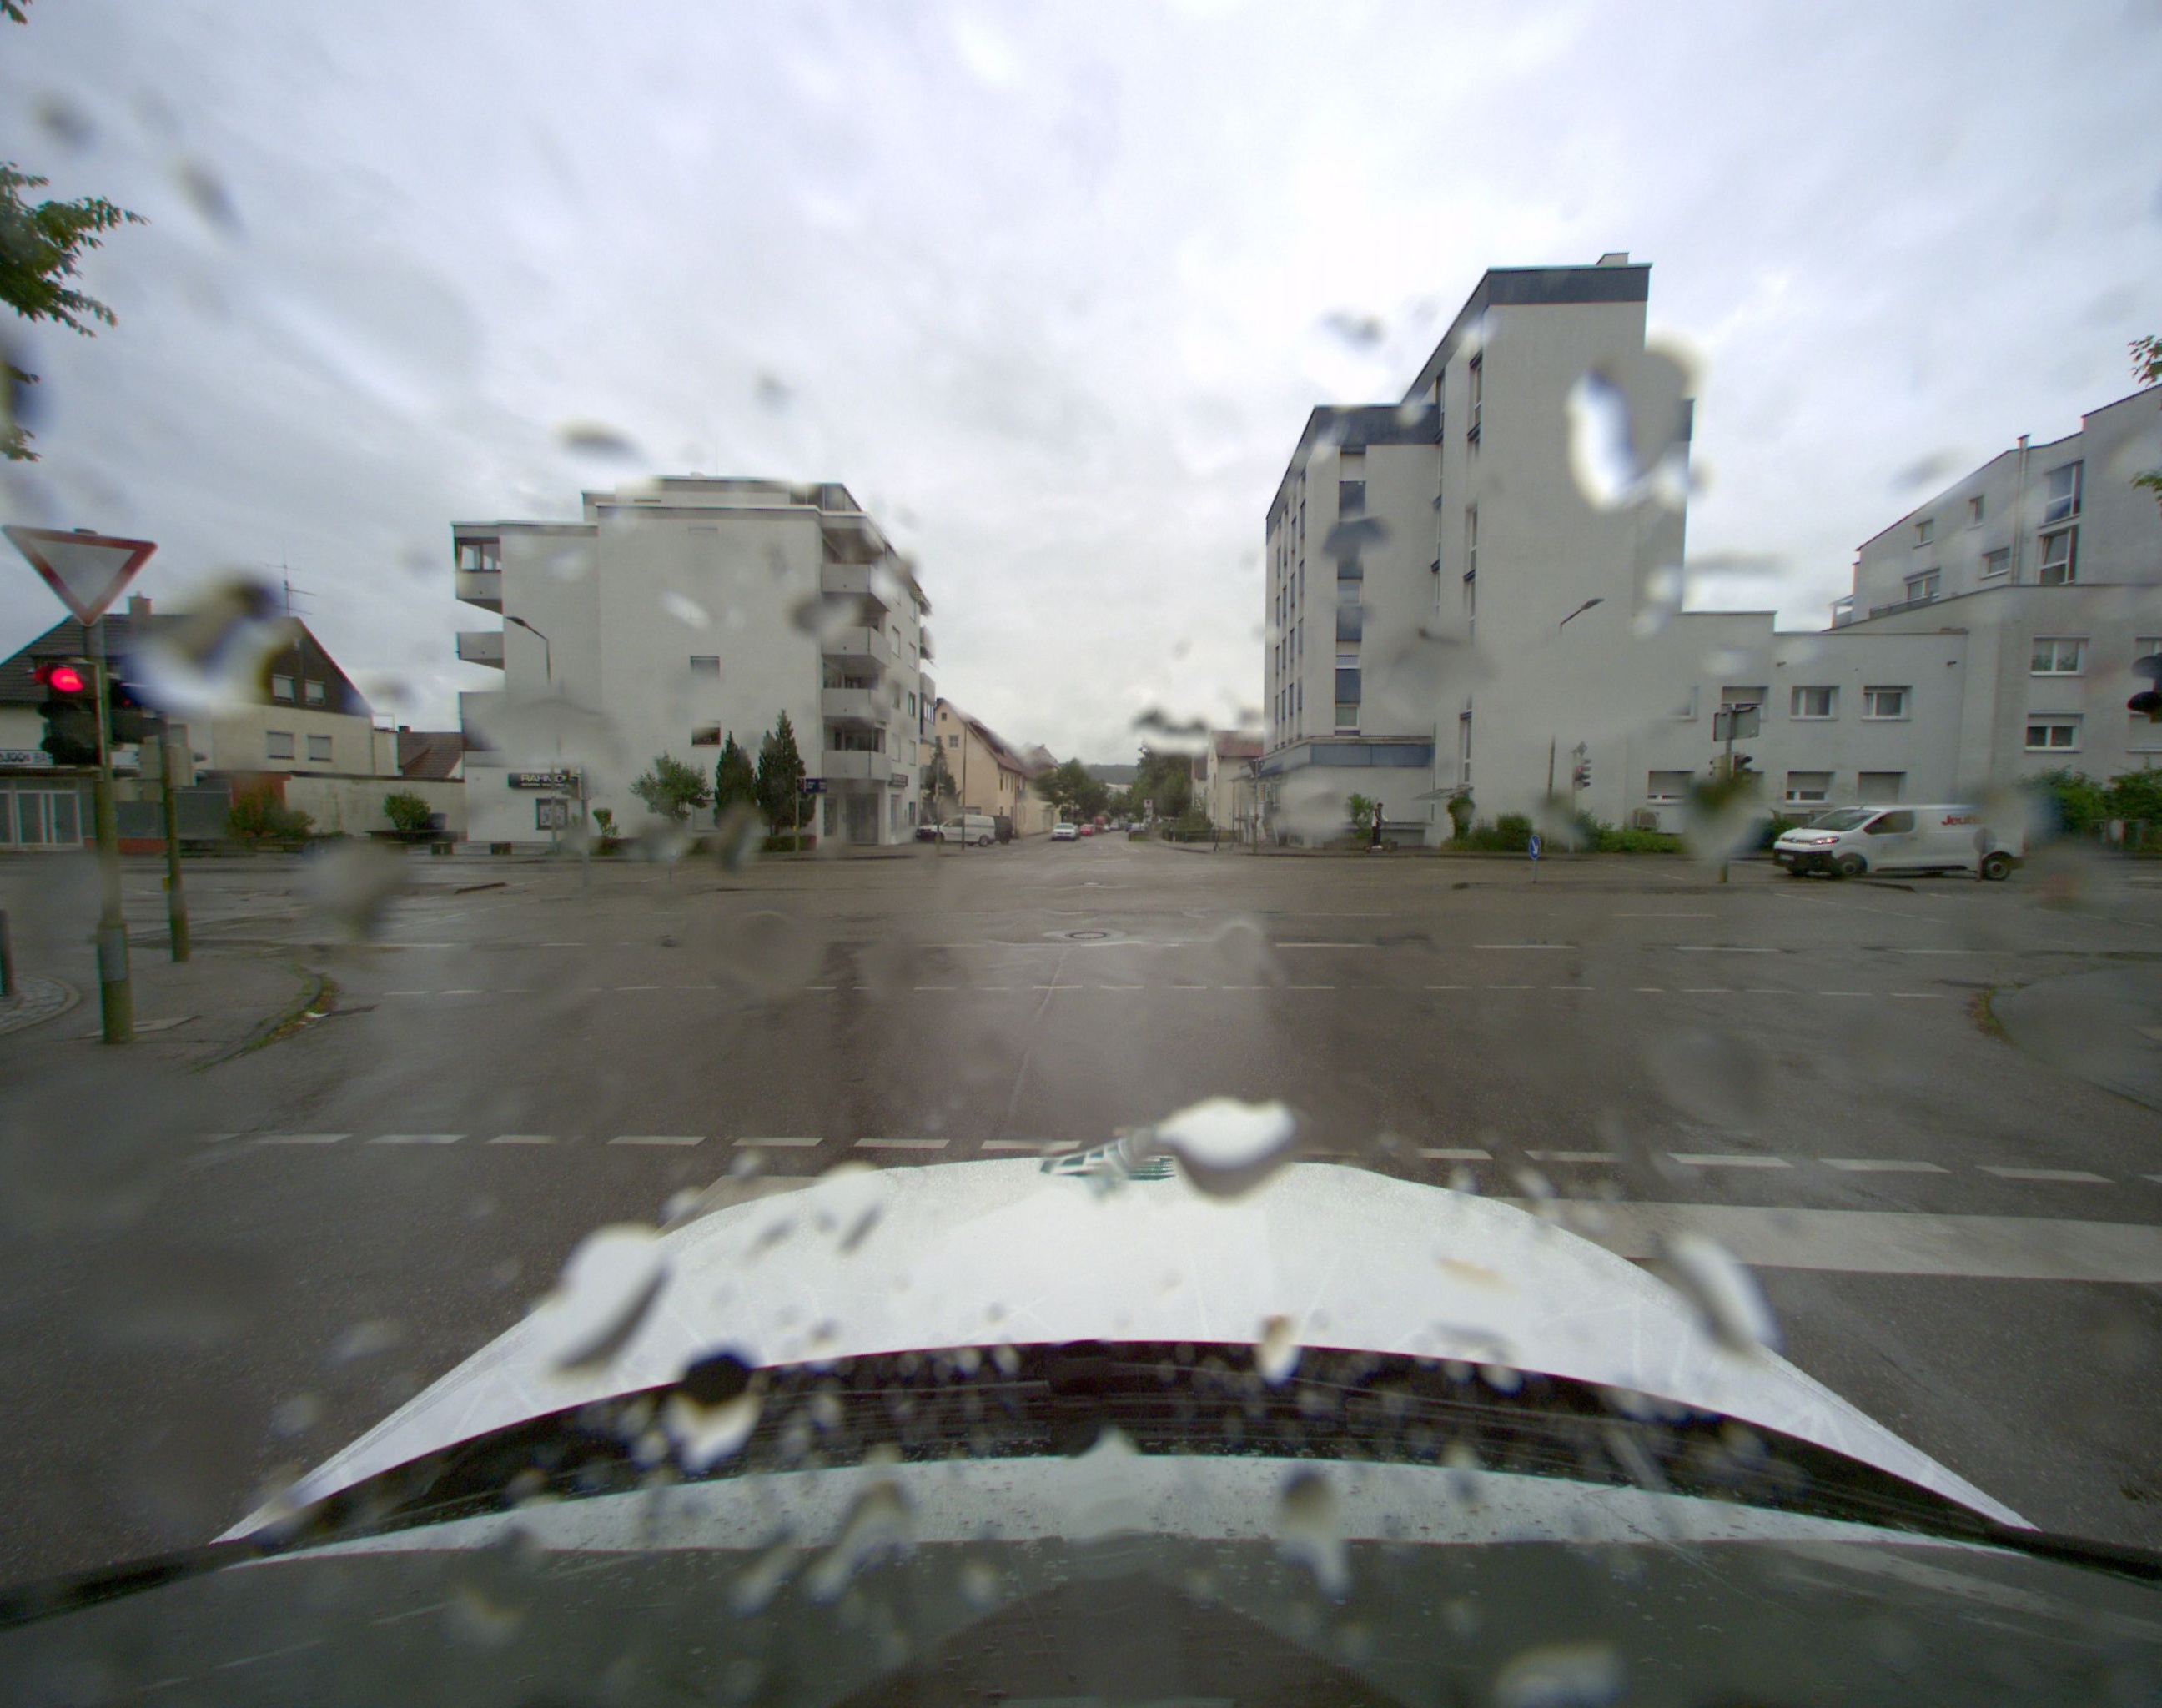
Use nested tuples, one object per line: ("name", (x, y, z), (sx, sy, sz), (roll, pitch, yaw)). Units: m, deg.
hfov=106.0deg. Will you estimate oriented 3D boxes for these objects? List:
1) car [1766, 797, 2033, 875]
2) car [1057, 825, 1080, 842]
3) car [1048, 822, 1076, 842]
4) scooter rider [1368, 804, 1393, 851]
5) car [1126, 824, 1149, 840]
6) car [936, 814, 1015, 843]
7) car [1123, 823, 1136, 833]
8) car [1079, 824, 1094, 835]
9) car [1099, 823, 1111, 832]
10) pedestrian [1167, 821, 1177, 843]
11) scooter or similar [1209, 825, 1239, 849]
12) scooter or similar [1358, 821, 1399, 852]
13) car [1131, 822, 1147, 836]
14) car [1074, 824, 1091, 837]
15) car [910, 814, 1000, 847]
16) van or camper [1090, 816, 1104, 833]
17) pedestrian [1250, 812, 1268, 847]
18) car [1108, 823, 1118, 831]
("car", (21.154, -0.445, 21.246), (4.787, 1.916, 1.831), (0, 0, 8))
("car", (-1.163, -2.031, 79.570), (1.985, 1.625, 4.195), (-1, 2, 3))
("car", (-1.543, -1.864, 68.166), (1.985, 1.625, 4.195), (-1, 2, 3))
("scooter rider", (11.512, -1.018, 31.272), (0.664, 1.795, 0.759), (0, 2, 41))
("car", (5.636, -2.202, 81.471), (2.137, 1.589, 4.131), (-1, 2, 3))
("car", (-7.078, -1.723, 54.918), (4.866, 1.835, 1.978), (-2, 2, -36))
("car", (8.562, -4.622, 143.207), (1.984, 1.683, 4.007), (-1, 2, 6))
("car", (0.739, -3.387, 113.004), (1.894, 1.558, 4.195), (-1, 2, 3))
("car", (4.054, -4.508, 138.761), (1.894, 1.558, 4.195), (-1, 2, 3))
("pedestrian", (7.721, -1.859, 69.377), (0.743, 1.848, 0.526), (3, 1, 1))
("scooter or similar", (6.765, -0.807, 38.584), (1.265, 1.081, 0.876), (-1, 1, -3))
("scooter or similar", (11.446, -0.662, 31.347), (1.297, 1.171, 0.764), (0, 2, 42))
("car", (7.360, -3.211, 103.688), (1.894, 1.745, 4.195), (-1, 2, 3))
("car", (0.194, -3.017, 104.605), (1.894, 1.558, 4.195), (-1, 2, 3))
("car", (-7.377, -1.409, 47.952), (4.866, 1.835, 1.978), (-2, 2, -36))
("van or camper", (2.492, -4.574, 126.914), (1.894, 2.513, 4.242), (-1, 1, 3))
("pedestrian", (8.593, -1.179, 39.407), (0.646, 1.647, 0.525), (3, 1, -4))
("car", (6.154, -5.158, 154.713), (1.894, 1.558, 4.195), (-1, 2, 3))
